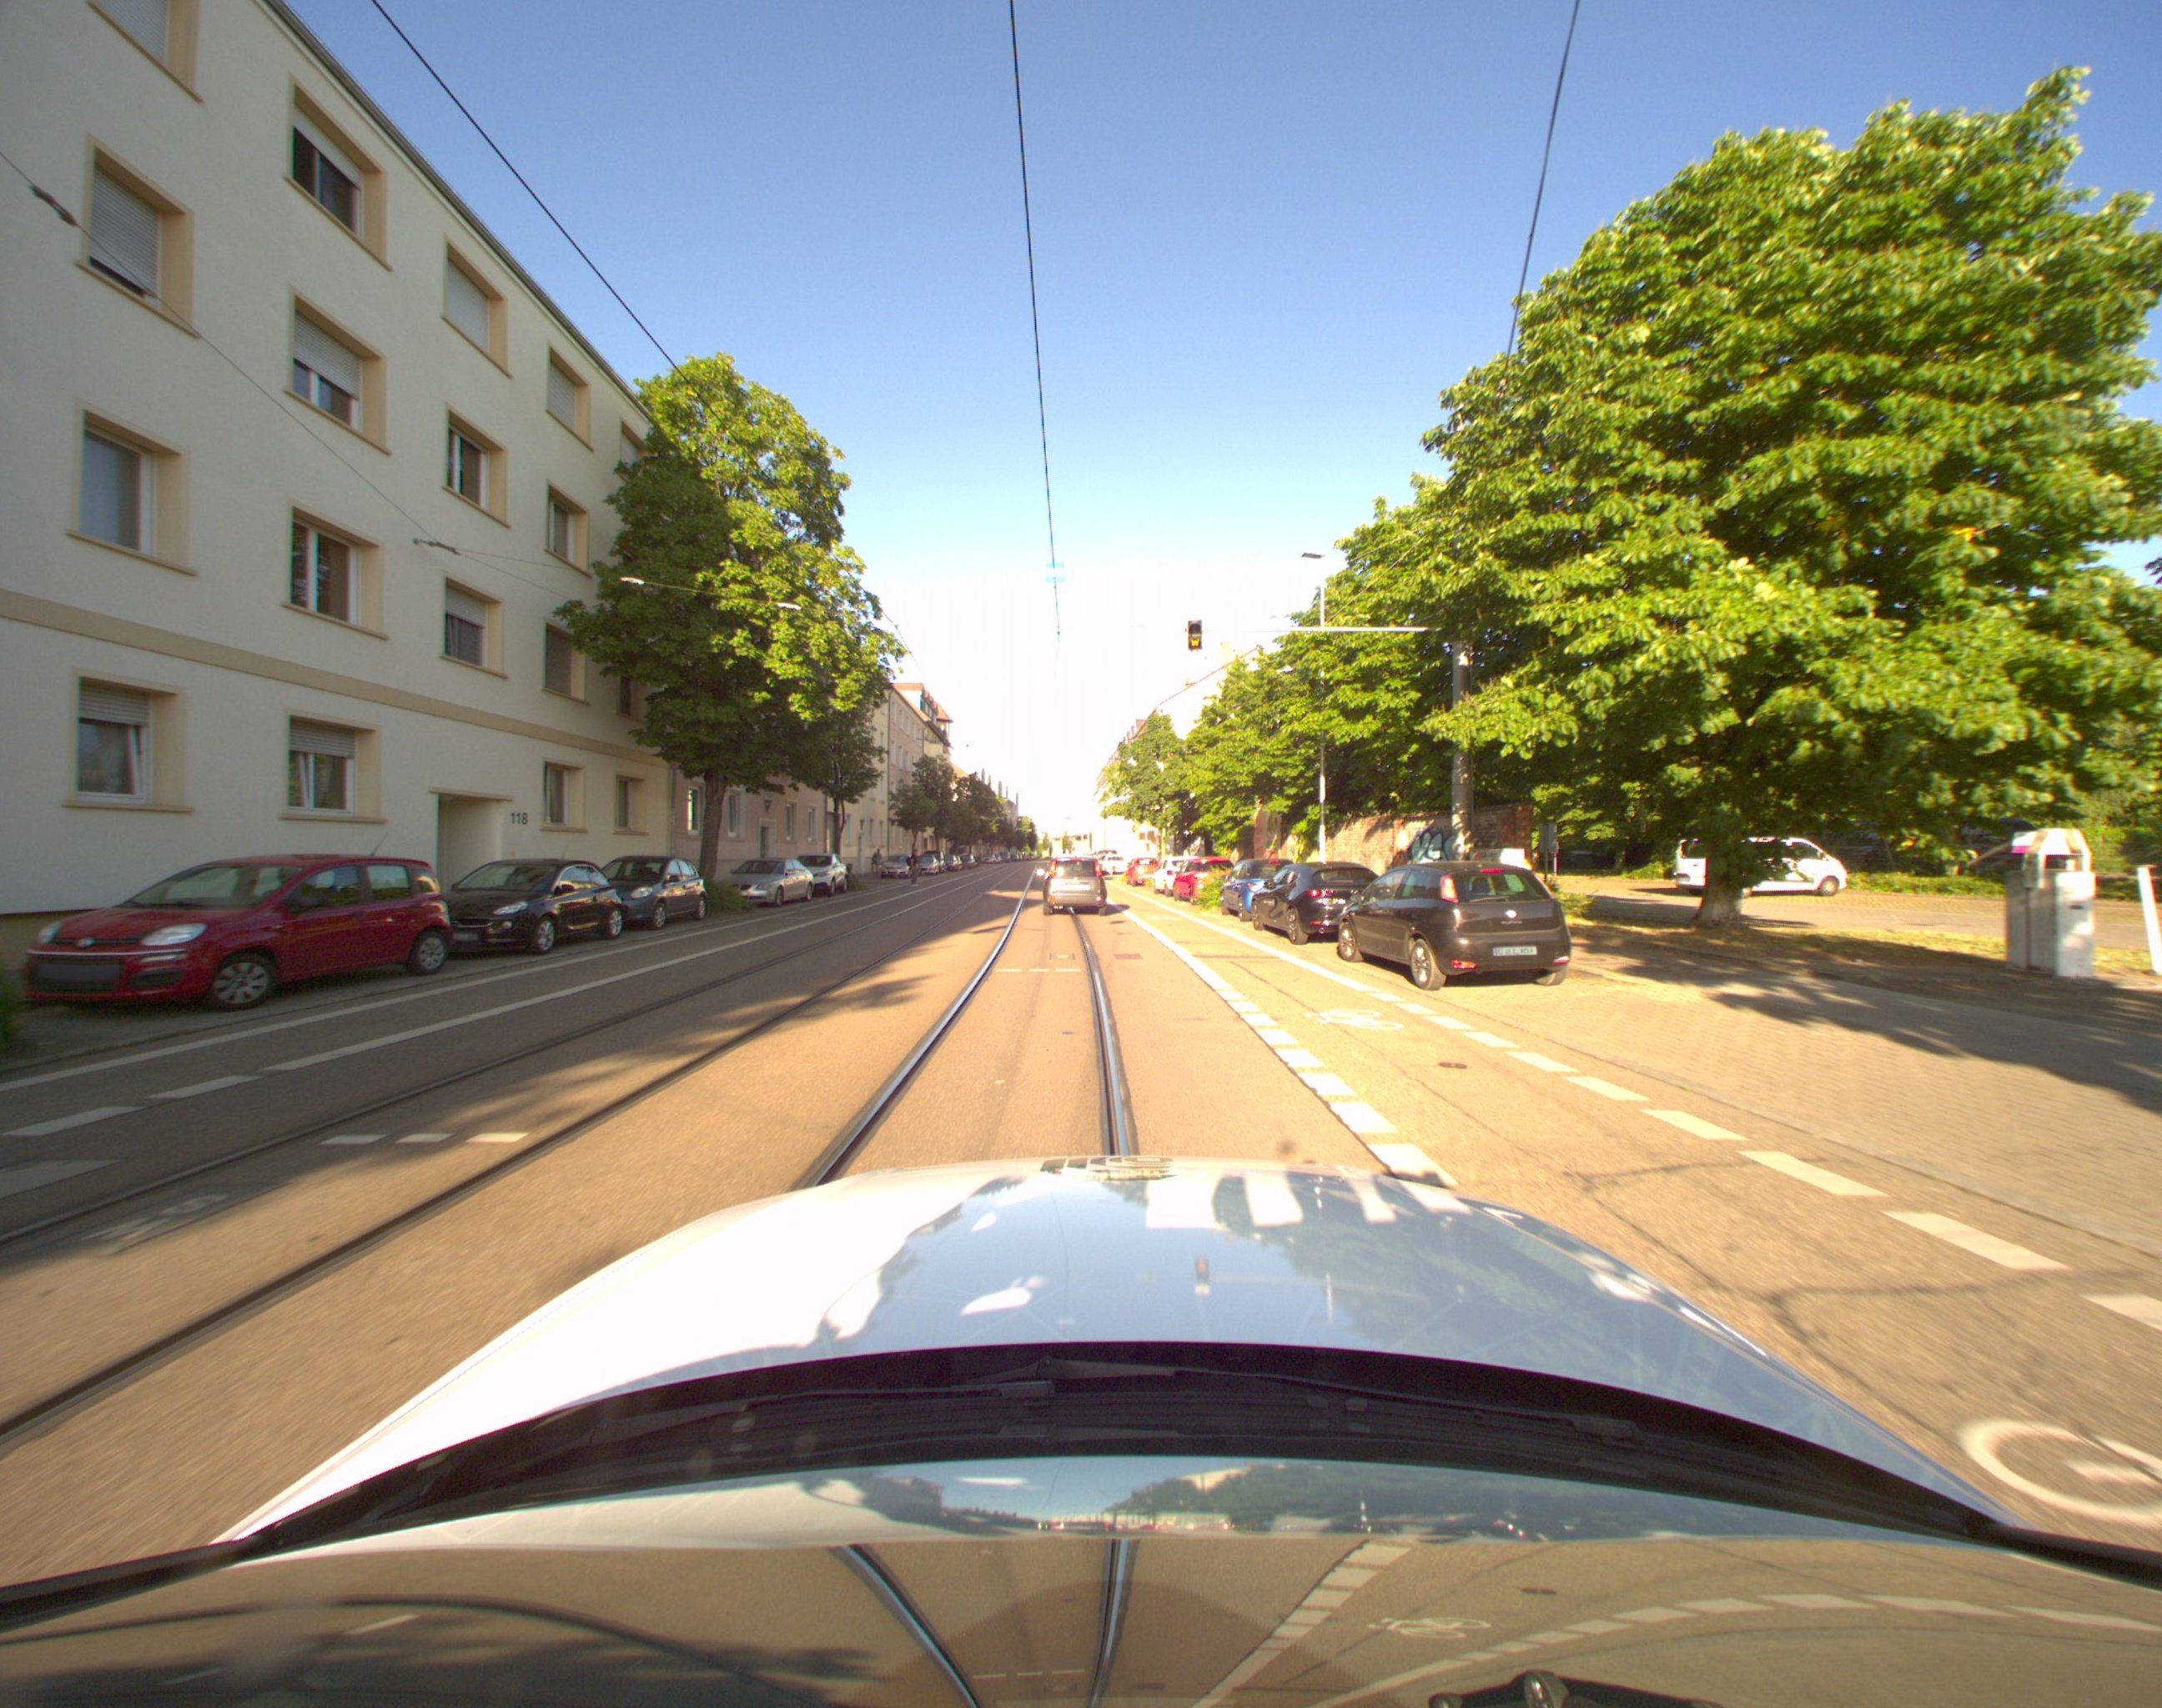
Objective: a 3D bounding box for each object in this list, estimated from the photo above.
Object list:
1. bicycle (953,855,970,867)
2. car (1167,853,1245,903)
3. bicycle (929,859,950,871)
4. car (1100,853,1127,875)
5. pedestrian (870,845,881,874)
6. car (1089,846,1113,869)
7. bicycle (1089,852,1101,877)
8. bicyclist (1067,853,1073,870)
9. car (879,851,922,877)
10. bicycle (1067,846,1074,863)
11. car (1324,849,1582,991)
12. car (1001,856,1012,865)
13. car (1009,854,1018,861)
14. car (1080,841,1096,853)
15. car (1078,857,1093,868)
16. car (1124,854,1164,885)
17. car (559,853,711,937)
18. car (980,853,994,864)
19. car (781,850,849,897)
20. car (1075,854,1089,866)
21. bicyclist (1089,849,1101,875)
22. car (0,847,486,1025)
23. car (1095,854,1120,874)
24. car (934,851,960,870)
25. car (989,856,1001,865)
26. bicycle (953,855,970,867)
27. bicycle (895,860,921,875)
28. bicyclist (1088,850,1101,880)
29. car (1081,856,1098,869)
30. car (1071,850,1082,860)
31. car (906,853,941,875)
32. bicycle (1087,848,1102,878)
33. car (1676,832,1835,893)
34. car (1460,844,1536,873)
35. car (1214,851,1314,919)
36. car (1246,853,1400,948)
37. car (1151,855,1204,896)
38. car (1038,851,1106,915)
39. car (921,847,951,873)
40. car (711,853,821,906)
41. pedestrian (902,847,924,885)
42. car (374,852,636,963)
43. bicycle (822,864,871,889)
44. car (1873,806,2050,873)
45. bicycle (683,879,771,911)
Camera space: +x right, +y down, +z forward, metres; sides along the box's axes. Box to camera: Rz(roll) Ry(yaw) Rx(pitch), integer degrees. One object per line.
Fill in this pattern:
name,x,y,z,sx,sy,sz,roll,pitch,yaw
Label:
bicycle,-12.382,0.693,84.532,1.727,1.196,0.372,1,0,-7
car,4.142,0.759,27.594,1.686,1.530,3.993,-1,0,-5
bicycle,-11.924,0.904,68.588,1.630,0.937,0.516,1,0,-7
car,2.360,0.736,60.352,1.652,1.571,3.495,1,0,-3
pedestrian,-13.044,0.338,51.804,0.535,1.826,0.542,1,0,-3
car,1.701,0.297,70.507,1.652,1.944,4.659,1,0,-3
bicycle,0.965,0.721,56.749,0.673,1.747,2.155,1,0,-4
bicyclist,-1.319,0.849,97.939,0.713,2.014,0.830,1,0,-4
car,-11.033,0.604,50.022,1.804,1.508,4.186,1,0,-3
bicycle,-1.273,0.030,97.823,0.740,2.013,2.808,1,0,-4
car,4.716,0.731,11.016,1.683,1.530,4.000,-1,0,0
car,-13.746,1.171,150.744,1.702,1.496,3.719,1,0,-2
car,-13.735,0.742,166.407,1.702,1.496,3.719,1,0,-2
car,0.838,-0.817,96.748,1.580,1.405,3.372,1,0,-4
car,0.548,1.063,104.122,1.580,1.405,3.372,1,0,-4
car,3.246,0.773,42.538,1.631,1.508,3.393,-2,0,-3
car,-9.529,0.800,17.727,1.589,1.614,3.722,1,0,-7
car,-14.070,0.649,122.134,1.702,1.496,3.719,1,0,-2
car,-10.082,0.689,31.163,1.650,1.668,4.286,1,0,-7
car,0.140,0.756,109.960,1.580,1.599,3.372,1,0,-4
bicyclist,0.966,0.572,56.757,0.698,1.759,0.756,1,0,-4
car,-9.006,0.718,9.110,1.683,1.530,4.000,1,0,1
car,2.092,0.785,65.031,1.652,1.571,3.871,1,0,-3
car,-11.839,0.591,72.037,1.804,1.619,4.060,1,0,-3
car,-14.456,1.043,136.583,1.702,1.496,3.719,1,0,-2
bicycle,-12.453,0.718,84.931,1.727,1.196,0.372,1,0,-7
bicycle,-11.553,0.898,54.429,1.661,1.001,0.476,1,0,0
bicyclist,0.813,0.666,48.908,0.698,1.759,0.756,1,0,-4
car,0.951,0.917,91.154,1.580,1.405,3.372,-3,0,-4
car,-0.764,0.228,135.807,1.580,1.599,3.372,1,0,-4
car,-11.334,0.709,58.895,1.804,1.508,4.676,1,0,-3
bicycle,0.820,0.541,49.189,0.673,1.747,2.155,1,0,-4
car,22.347,0.284,27.071,3.899,1.861,1.805,1,0,-4
car,27.148,0.263,53.096,3.975,1.772,1.999,1,0,-1
car,4.556,0.725,20.857,1.683,1.530,4.000,-1,0,0
car,4.438,0.764,15.635,1.683,1.530,4.355,-1,0,0
car,3.838,0.823,32.931,1.683,1.530,4.000,-1,0,0
car,-0.163,0.715,22.050,1.644,1.541,4.236,1,0,1
car,-11.595,0.448,65.238,1.804,1.943,4.329,1,0,-3
car,-9.733,0.724,25.582,1.684,1.475,4.657,1,0,-1
pedestrian,-7.986,0.565,38.737,0.853,1.776,0.730,-1,1,-23
car,-9.234,0.760,13.512,1.783,1.530,3.851,2,0,-5
bicycle,-10.084,0.975,35.055,1.919,1.046,0.476,1,0,-2
car,30.691,-0.503,28.469,4.181,2.241,2.140,0,0,-5
bicycle,-9.653,1.111,22.236,2.123,0.824,0.476,1,0,-4
